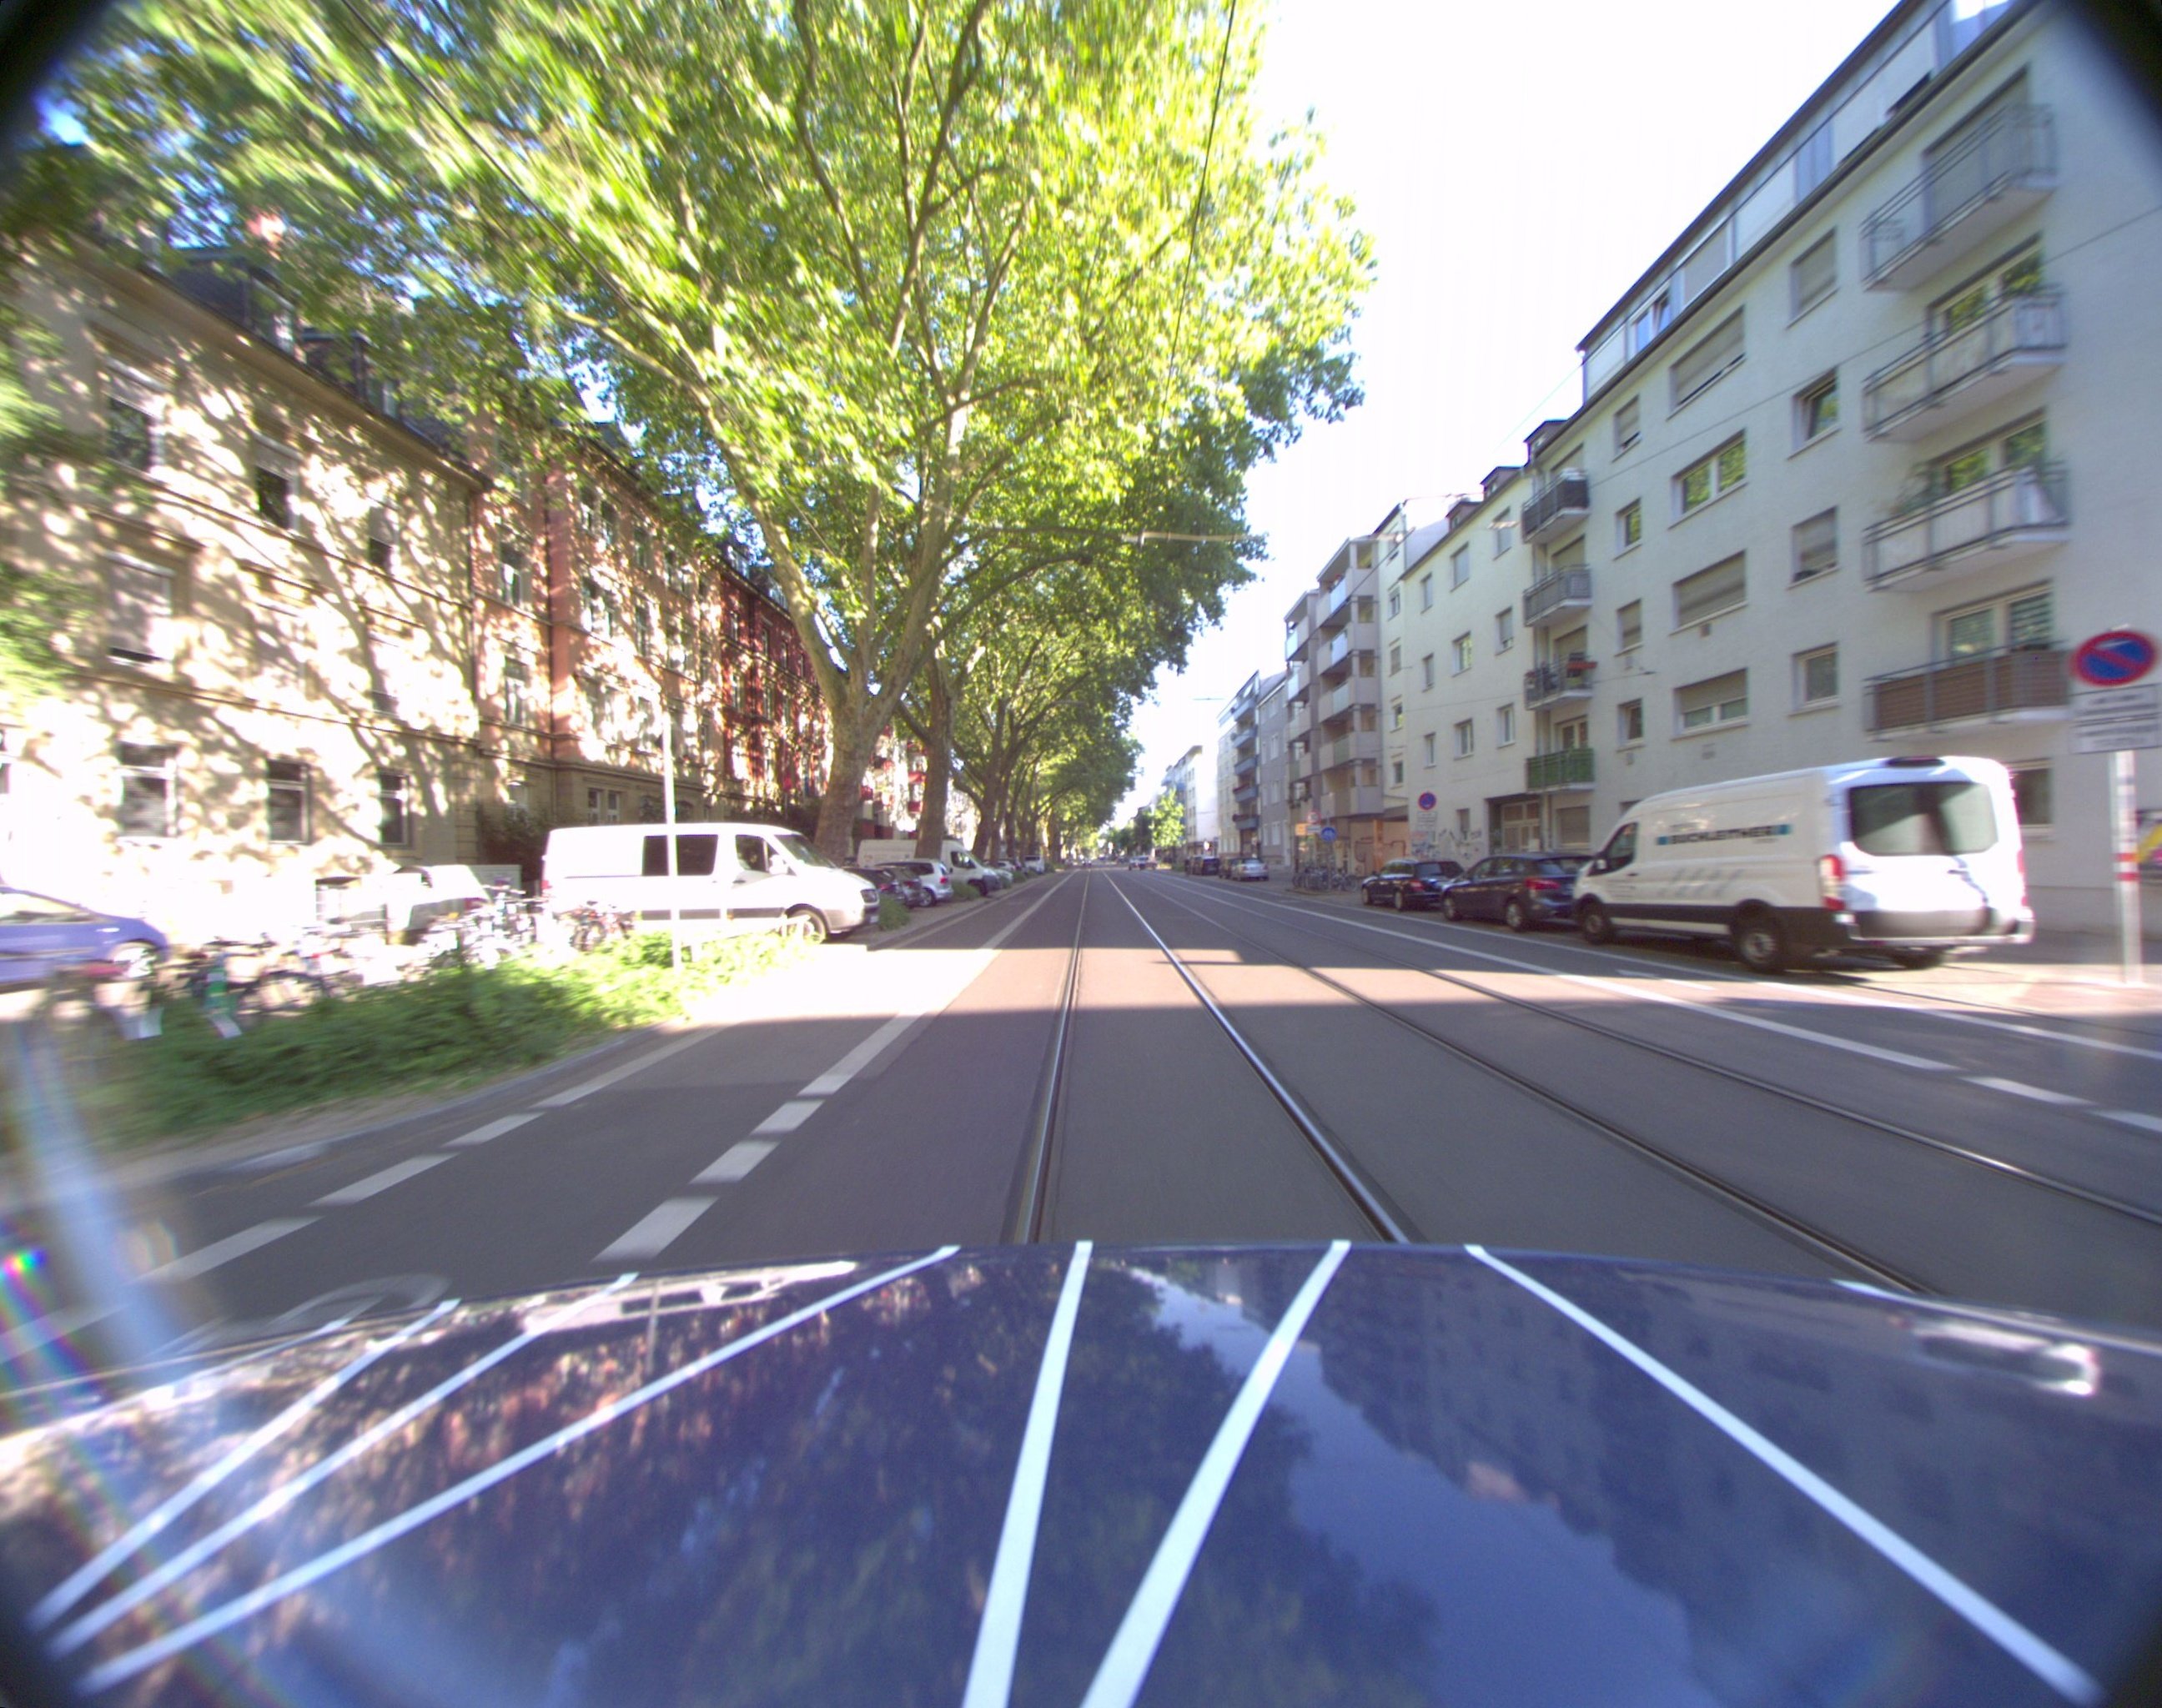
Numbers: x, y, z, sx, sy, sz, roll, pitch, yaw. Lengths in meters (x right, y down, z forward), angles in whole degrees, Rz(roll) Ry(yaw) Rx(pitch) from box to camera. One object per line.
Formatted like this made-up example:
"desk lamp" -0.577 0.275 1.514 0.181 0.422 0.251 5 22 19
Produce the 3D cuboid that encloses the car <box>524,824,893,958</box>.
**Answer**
"car" -6.833 0.676 14.364 6.005 2.269 2.007 -1 0 3

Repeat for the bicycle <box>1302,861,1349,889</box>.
"bicycle" 10.331 0.897 32.137 1.822 1.112 0.425 -2 1 8

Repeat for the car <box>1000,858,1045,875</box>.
"car" -5.053 1.103 65.751 3.837 1.434 1.700 0 -2 -5

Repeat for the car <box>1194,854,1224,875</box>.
"car" 10.423 0.833 62.066 1.660 1.591 4.202 -3 0 0

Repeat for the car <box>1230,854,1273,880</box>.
"car" 10.323 0.746 46.370 1.693 1.482 4.728 -1 0 2

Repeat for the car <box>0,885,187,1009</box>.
"car" -14.183 1.221 9.522 1.737 1.447 3.569 -3 0 -2

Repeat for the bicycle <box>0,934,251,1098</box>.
"bicycle" -7.665 1.247 5.997 2.045 1.172 0.413 -2 1 10

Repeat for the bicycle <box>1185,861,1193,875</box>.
"bicycle" 8.381 1.099 58.868 0.418 1.012 1.947 0 0 1

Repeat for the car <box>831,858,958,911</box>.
"car" -6.369 1.021 26.286 3.965 1.646 1.795 -1 1 -2

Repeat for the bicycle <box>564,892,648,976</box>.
"bicycle" -7.481 1.215 11.929 2.043 1.172 0.414 -1 2 38

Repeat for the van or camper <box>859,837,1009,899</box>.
"van or camper" -6.266 0.585 32.933 6.048 2.476 2.107 -1 1 0

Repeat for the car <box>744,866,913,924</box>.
"car" -6.913 1.106 21.133 4.064 1.451 1.796 -1 0 -1

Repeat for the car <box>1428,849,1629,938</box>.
"car" 9.338 0.725 16.329 1.723 1.622 4.346 -1 0 0

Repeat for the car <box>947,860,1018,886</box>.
"car" -5.793 1.090 45.003 3.963 1.471 1.688 0 0 1

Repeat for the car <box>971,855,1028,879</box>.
"car" -6.127 0.951 57.410 4.003 1.734 1.805 -1 0 1

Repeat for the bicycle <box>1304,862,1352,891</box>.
"bicycle" 10.277 0.928 31.638 1.792 1.112 0.425 -2 1 8

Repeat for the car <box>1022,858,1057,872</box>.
"car" -4.539 1.161 83.663 3.570 1.431 1.727 -1 1 4

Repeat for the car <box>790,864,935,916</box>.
"car" -6.749 1.103 23.788 3.964 1.470 1.796 -1 0 1

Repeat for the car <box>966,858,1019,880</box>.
"car" -6.372 1.052 55.207 3.618 1.486 1.660 -1 0 -1

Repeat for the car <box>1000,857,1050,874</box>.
"car" -4.992 1.027 68.233 4.206 1.473 1.912 0 0 2

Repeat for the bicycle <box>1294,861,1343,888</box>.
"bicycle" 10.391 0.890 33.310 1.964 1.112 0.440 -2 1 8

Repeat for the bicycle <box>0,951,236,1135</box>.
"bicycle" -7.149 1.312 5.427 2.045 1.172 0.413 -2 1 10

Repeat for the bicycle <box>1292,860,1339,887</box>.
"bicycle" 10.424 0.886 33.848 1.934 1.112 0.440 -2 1 8

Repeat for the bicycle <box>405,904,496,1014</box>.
"bicycle" -7.890 1.258 9.475 2.043 1.172 0.414 -1 2 38

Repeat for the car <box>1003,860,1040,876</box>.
"car" -6.046 1.431 77.131 3.572 1.522 1.677 -1 0 -1

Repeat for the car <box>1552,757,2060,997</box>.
"car" 9.458 0.242 10.915 2.069 2.521 5.667 -1 0 3

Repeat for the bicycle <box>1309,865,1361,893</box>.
"bicycle" 10.111 0.980 30.288 1.897 1.032 0.402 -2 1 8

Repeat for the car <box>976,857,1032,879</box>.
"car" -6.063 1.071 60.123 4.302 1.643 1.743 -1 0 -2

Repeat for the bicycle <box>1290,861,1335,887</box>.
"bicycle" 10.496 0.916 34.478 1.897 1.112 0.402 -2 1 8

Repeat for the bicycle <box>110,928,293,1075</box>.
"bicycle" -8.106 1.299 6.983 2.044 1.172 0.414 -1 1 22

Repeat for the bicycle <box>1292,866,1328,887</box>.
"bicycle" 10.577 1.036 35.067 1.624 0.911 0.401 -3 1 -15

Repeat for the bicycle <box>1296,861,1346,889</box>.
"bicycle" 10.349 0.893 32.824 1.972 1.112 0.425 -2 1 8

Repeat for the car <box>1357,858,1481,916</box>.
"car" 9.581 0.866 21.947 1.722 1.448 4.573 -1 0 3

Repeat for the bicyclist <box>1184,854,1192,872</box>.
"bicyclist" 8.384 0.698 59.435 0.510 1.386 0.709 1 1 1

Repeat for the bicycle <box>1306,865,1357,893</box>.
"bicycle" 10.178 1.021 30.855 1.897 1.032 0.402 -2 1 8

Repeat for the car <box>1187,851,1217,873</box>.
"car" 10.632 0.684 67.039 1.784 1.728 4.489 -3 0 -1

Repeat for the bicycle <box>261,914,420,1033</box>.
"bicycle" -8.161 1.272 8.356 2.044 1.172 0.414 -1 1 22

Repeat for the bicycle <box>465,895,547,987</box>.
"bicycle" -8.404 1.224 11.077 2.043 1.172 0.414 -1 2 38

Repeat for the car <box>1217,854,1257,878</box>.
"car" 10.450 0.787 51.316 1.798 1.482 4.240 -1 0 0

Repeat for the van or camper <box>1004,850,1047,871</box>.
"van or camper" -5.835 0.684 79.716 4.388 2.097 1.838 -1 1 -2
